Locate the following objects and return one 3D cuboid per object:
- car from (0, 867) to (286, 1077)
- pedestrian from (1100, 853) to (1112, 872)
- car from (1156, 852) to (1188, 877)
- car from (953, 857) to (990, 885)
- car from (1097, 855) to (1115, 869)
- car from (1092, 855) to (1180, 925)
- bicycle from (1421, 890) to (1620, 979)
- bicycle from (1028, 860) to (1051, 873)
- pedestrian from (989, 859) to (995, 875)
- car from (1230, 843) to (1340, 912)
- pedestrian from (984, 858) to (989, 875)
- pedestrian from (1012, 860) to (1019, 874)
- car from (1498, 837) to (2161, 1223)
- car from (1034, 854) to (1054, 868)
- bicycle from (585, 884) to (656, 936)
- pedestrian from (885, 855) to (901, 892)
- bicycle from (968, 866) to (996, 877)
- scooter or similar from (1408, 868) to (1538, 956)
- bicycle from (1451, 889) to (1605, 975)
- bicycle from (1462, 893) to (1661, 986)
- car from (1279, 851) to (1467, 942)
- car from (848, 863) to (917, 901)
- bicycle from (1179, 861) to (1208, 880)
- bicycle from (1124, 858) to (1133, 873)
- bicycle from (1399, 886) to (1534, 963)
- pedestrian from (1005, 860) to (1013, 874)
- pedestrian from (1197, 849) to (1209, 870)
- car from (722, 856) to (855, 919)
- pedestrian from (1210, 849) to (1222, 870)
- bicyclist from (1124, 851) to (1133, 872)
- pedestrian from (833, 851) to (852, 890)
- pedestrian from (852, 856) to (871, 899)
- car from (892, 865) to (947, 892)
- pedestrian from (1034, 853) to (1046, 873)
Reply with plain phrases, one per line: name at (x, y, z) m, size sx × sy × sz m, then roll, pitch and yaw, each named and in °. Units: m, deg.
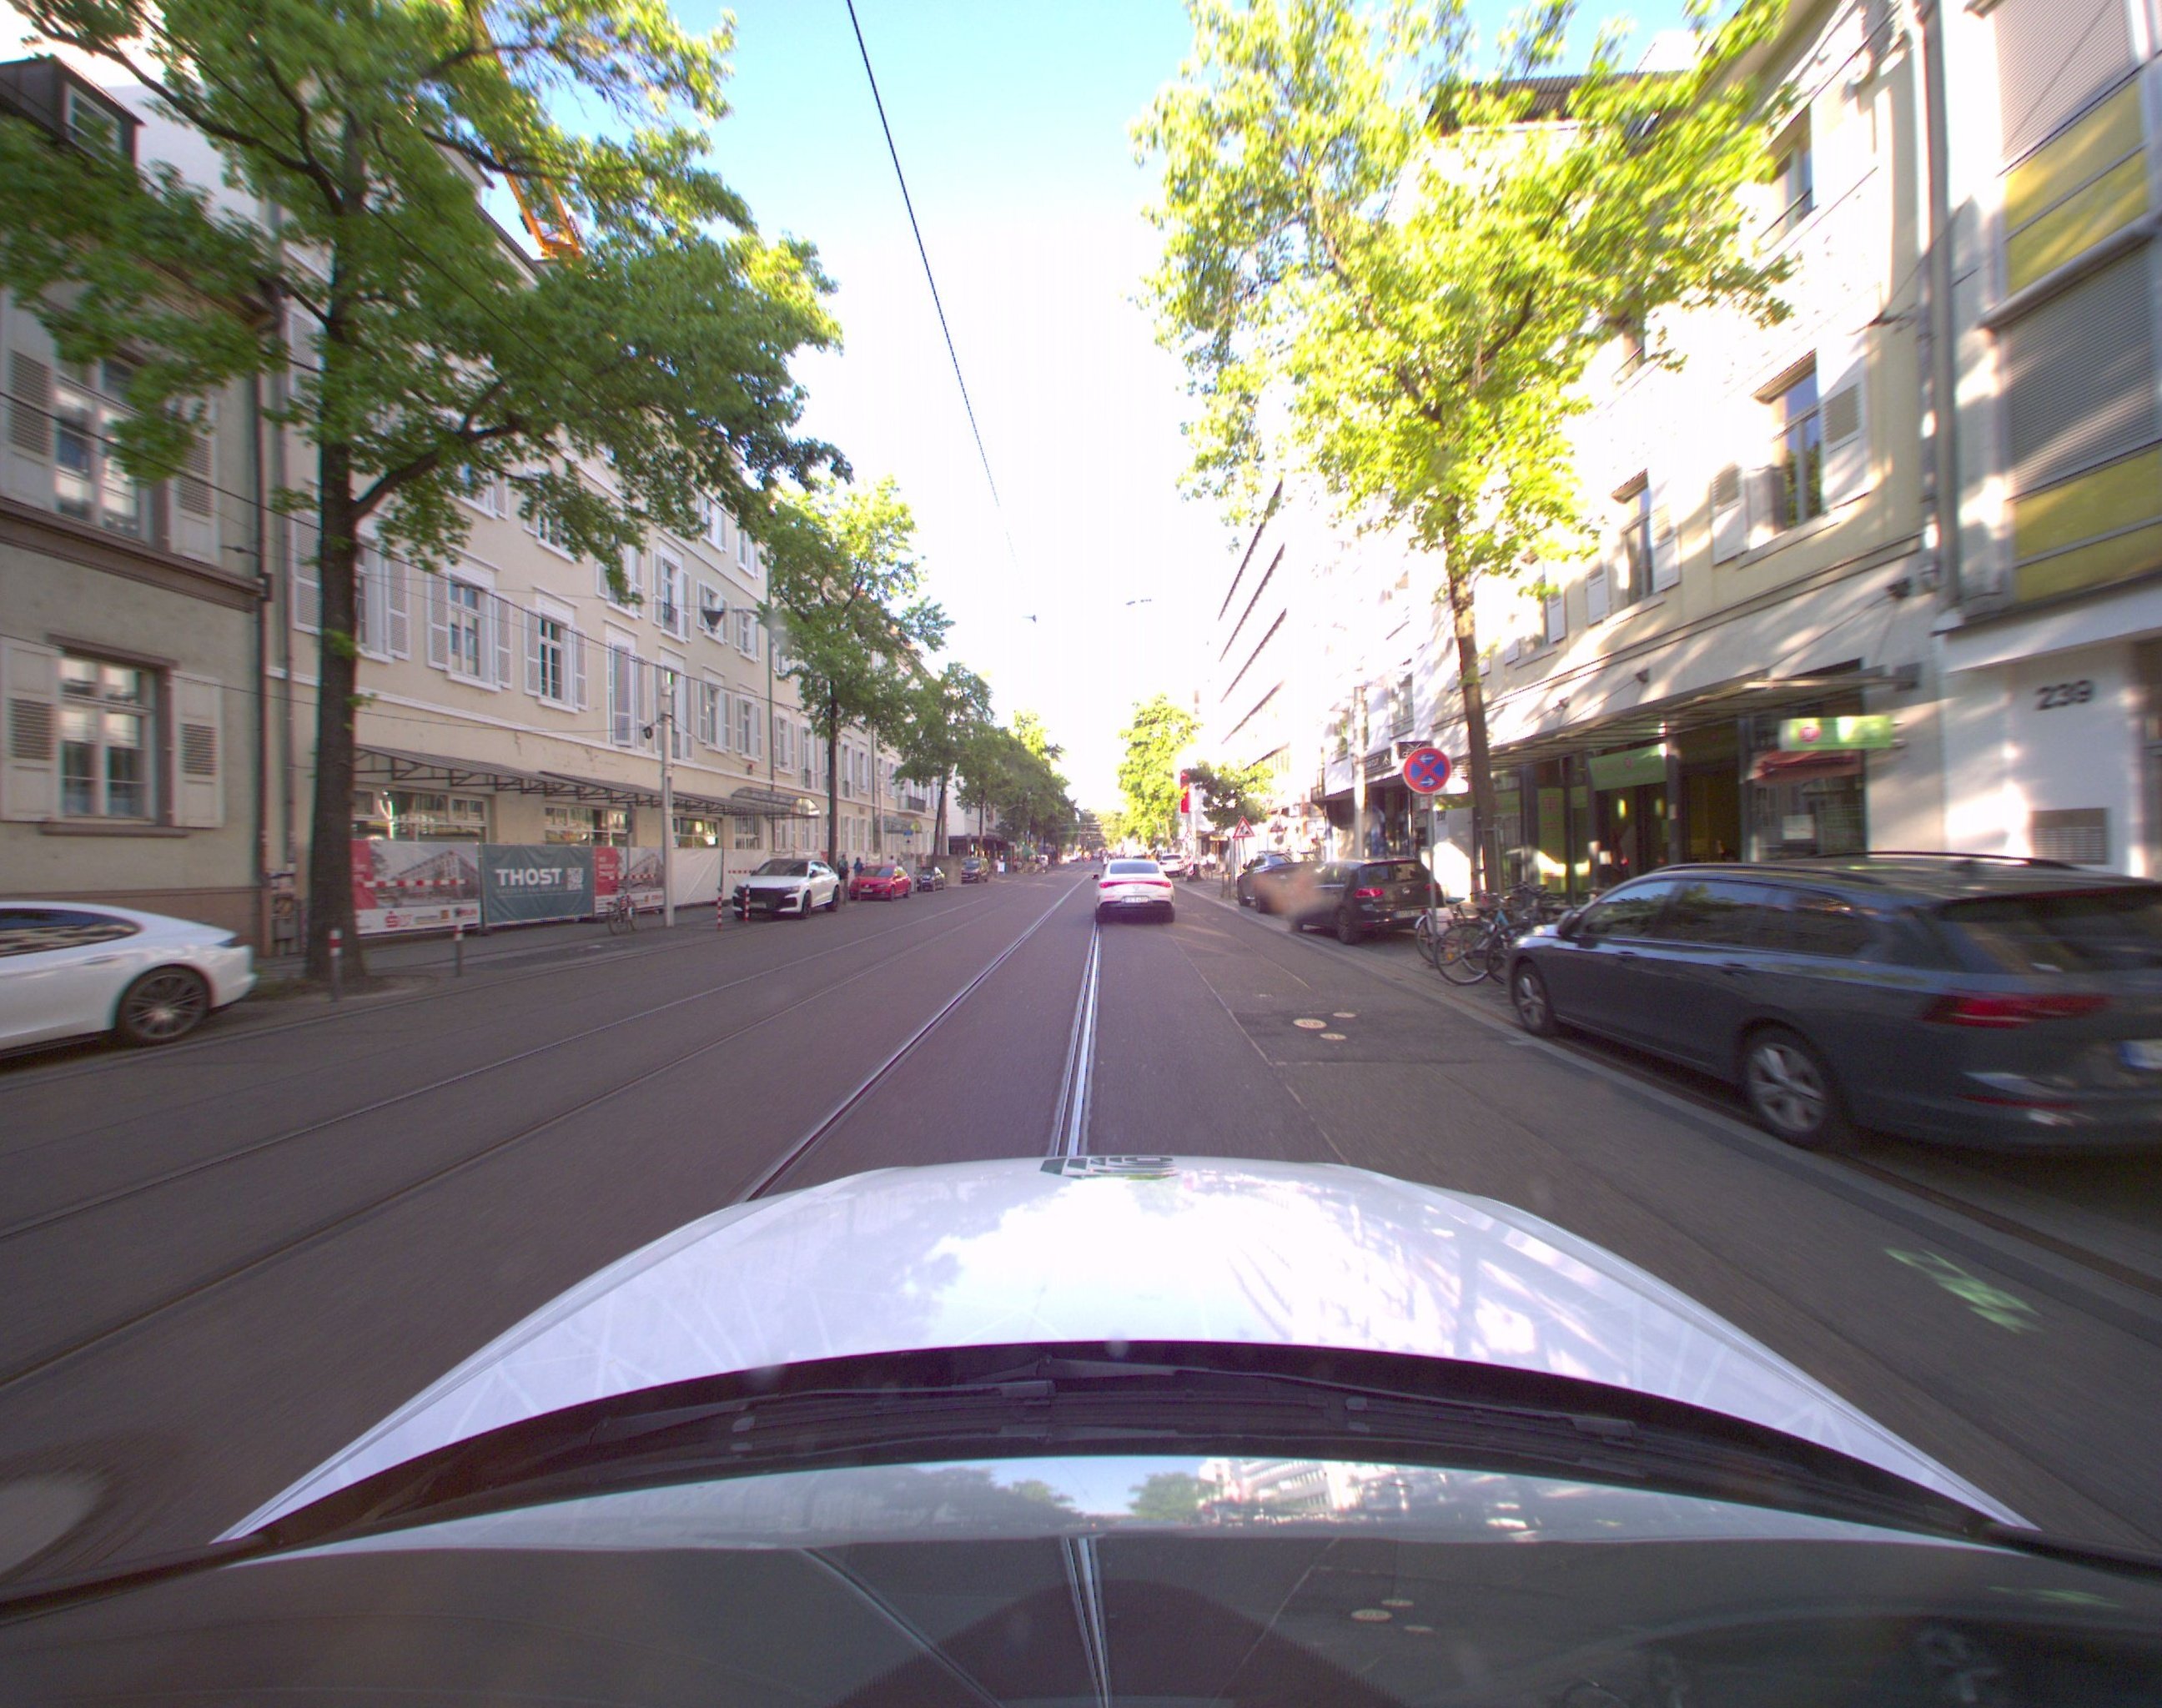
car at (-9.559, 0.956, 6.238) m, size 1.938 × 1.640 × 4.913 m, roll -1°, pitch 0°, yaw 3°
pedestrian at (2.441, 0.830, 79.573) m, size 0.920 × 1.774 × 0.870 m, roll -1°, pitch 0°, yaw -13°
car at (6.675, 0.770, 59.875) m, size 1.986 × 1.728 × 4.243 m, roll -2°, pitch 0°, yaw 2°
car at (-7.533, 1.135, 56.214) m, size 1.543 × 1.796 × 3.176 m, roll -2°, pitch 0°, yaw 10°
car at (5.762, 1.862, 188.166) m, size 4.024 × 3.114 × 8.433 m, roll -2°, pitch -1°, yaw 1°
car at (1.228, 0.786, 19.783) m, size 1.862 × 1.469 × 4.042 m, roll -1°, pitch 0°, yaw 0°
bicycle at (4.983, 0.916, 9.288) m, size 2.026 × 0.964 × 0.282 m, roll -1°, pitch -1°, yaw 6°
bicycle at (-3.802, 1.111, 74.476) m, size 2.050 × 1.136 × 0.870 m, roll -1°, pitch 0°, yaw -13°
pedestrian at (-9.032, 1.329, 82.568) m, size 0.515 × 1.616 × 0.650 m, roll -1°, pitch 0°, yaw 1°
car at (5.649, 0.599, 23.199) m, size 1.986 × 1.713 × 4.868 m, roll -1°, pitch 0°, yaw 2°
pedestrian at (-10.291, 1.371, 88.720) m, size 0.516 × 1.781 × 0.608 m, roll -1°, pitch 0°, yaw -3°
pedestrian at (-7.039, 1.365, 87.435) m, size 0.519 × 1.478 × 0.644 m, roll -3°, pitch -1°, yaw -26°
car at (4.619, 0.702, 5.286) m, size 1.863 × 1.453 × 4.110 m, roll -4°, pitch 0°, yaw 4°
car at (-5.418, 0.978, 118.735) m, size 1.981 × 2.013 × 4.011 m, roll -2°, pitch 0°, yaw 10°
bicycle at (-10.422, 1.236, 18.506) m, size 0.592 × 1.050 × 2.005 m, roll -1°, pitch 0°, yaw -5°
pedestrian at (-10.225, 1.040, 44.283) m, size 0.705 × 2.004 × 0.675 m, roll -1°, pitch 0°, yaw -2°
bicycle at (-8.071, 1.458, 66.375) m, size 2.232 × 0.830 × 0.721 m, roll -2°, pitch 0°, yaw 24°
scooter or similar at (5.642, 0.822, 11.786) m, size 1.531 × 1.196 × 0.676 m, roll -1°, pitch 0°, yaw 5°
bicycle at (5.326, 0.924, 9.768) m, size 1.529 × 0.964 × 0.497 m, roll -1°, pitch 0°, yaw 8°
bicycle at (5.229, 0.933, 8.917) m, size 1.886 × 0.964 × 0.332 m, roll -1°, pitch -1°, yaw 6°
car at (5.266, 0.702, 15.299) m, size 1.834 × 1.436 × 3.993 m, roll -1°, pitch 0°, yaw -5°
car at (-8.377, 1.133, 34.664) m, size 1.682 × 1.499 × 4.237 m, roll -1°, pitch -1°, yaw 3°
bicycle at (6.730, 0.999, 48.777) m, size 1.714 × 1.062 × 0.581 m, roll -2°, pitch 0°, yaw 4°
bicycle at (3.879, 0.970, 66.518) m, size 0.737 × 1.188 × 2.162 m, roll -2°, pitch -1°, yaw 3°
bicycle at (5.125, 0.933, 10.883) m, size 1.531 × 0.964 × 0.497 m, roll -1°, pitch 0°, yaw 5°
pedestrian at (-7.618, 1.379, 85.943) m, size 0.564 × 1.464 × 0.653 m, roll -1°, pitch 0°, yaw 21°
pedestrian at (10.618, 0.485, 70.826) m, size 0.799 × 1.774 × 0.680 m, roll -1°, pitch 0°, yaw -11°
car at (-8.613, 0.921, 24.546) m, size 1.954 × 1.692 × 5.016 m, roll -1°, pitch -1°, yaw 3°
pedestrian at (11.611, 0.449, 70.288) m, size 0.799 × 1.774 × 0.680 m, roll -1°, pitch 0°, yaw -11°
bicyclist at (3.863, 0.639, 66.343) m, size 0.722 × 1.703 × 0.811 m, roll -1°, pitch -1°, yaw 2°
pedestrian at (-11.313, 0.788, 38.650) m, size 0.706 × 1.806 × 0.675 m, roll -1°, pitch 0°, yaw -4°
pedestrian at (-10.415, 1.126, 38.631) m, size 0.705 × 2.004 × 0.675 m, roll -1°, pitch 0°, yaw -2°
car at (-8.452, 1.270, 42.894) m, size 1.986 × 1.292 × 4.001 m, roll -1°, pitch 0°, yaw 2°
pedestrian at (-3.750, 0.810, 74.490) m, size 0.920 × 1.774 × 0.870 m, roll -1°, pitch 0°, yaw -13°
